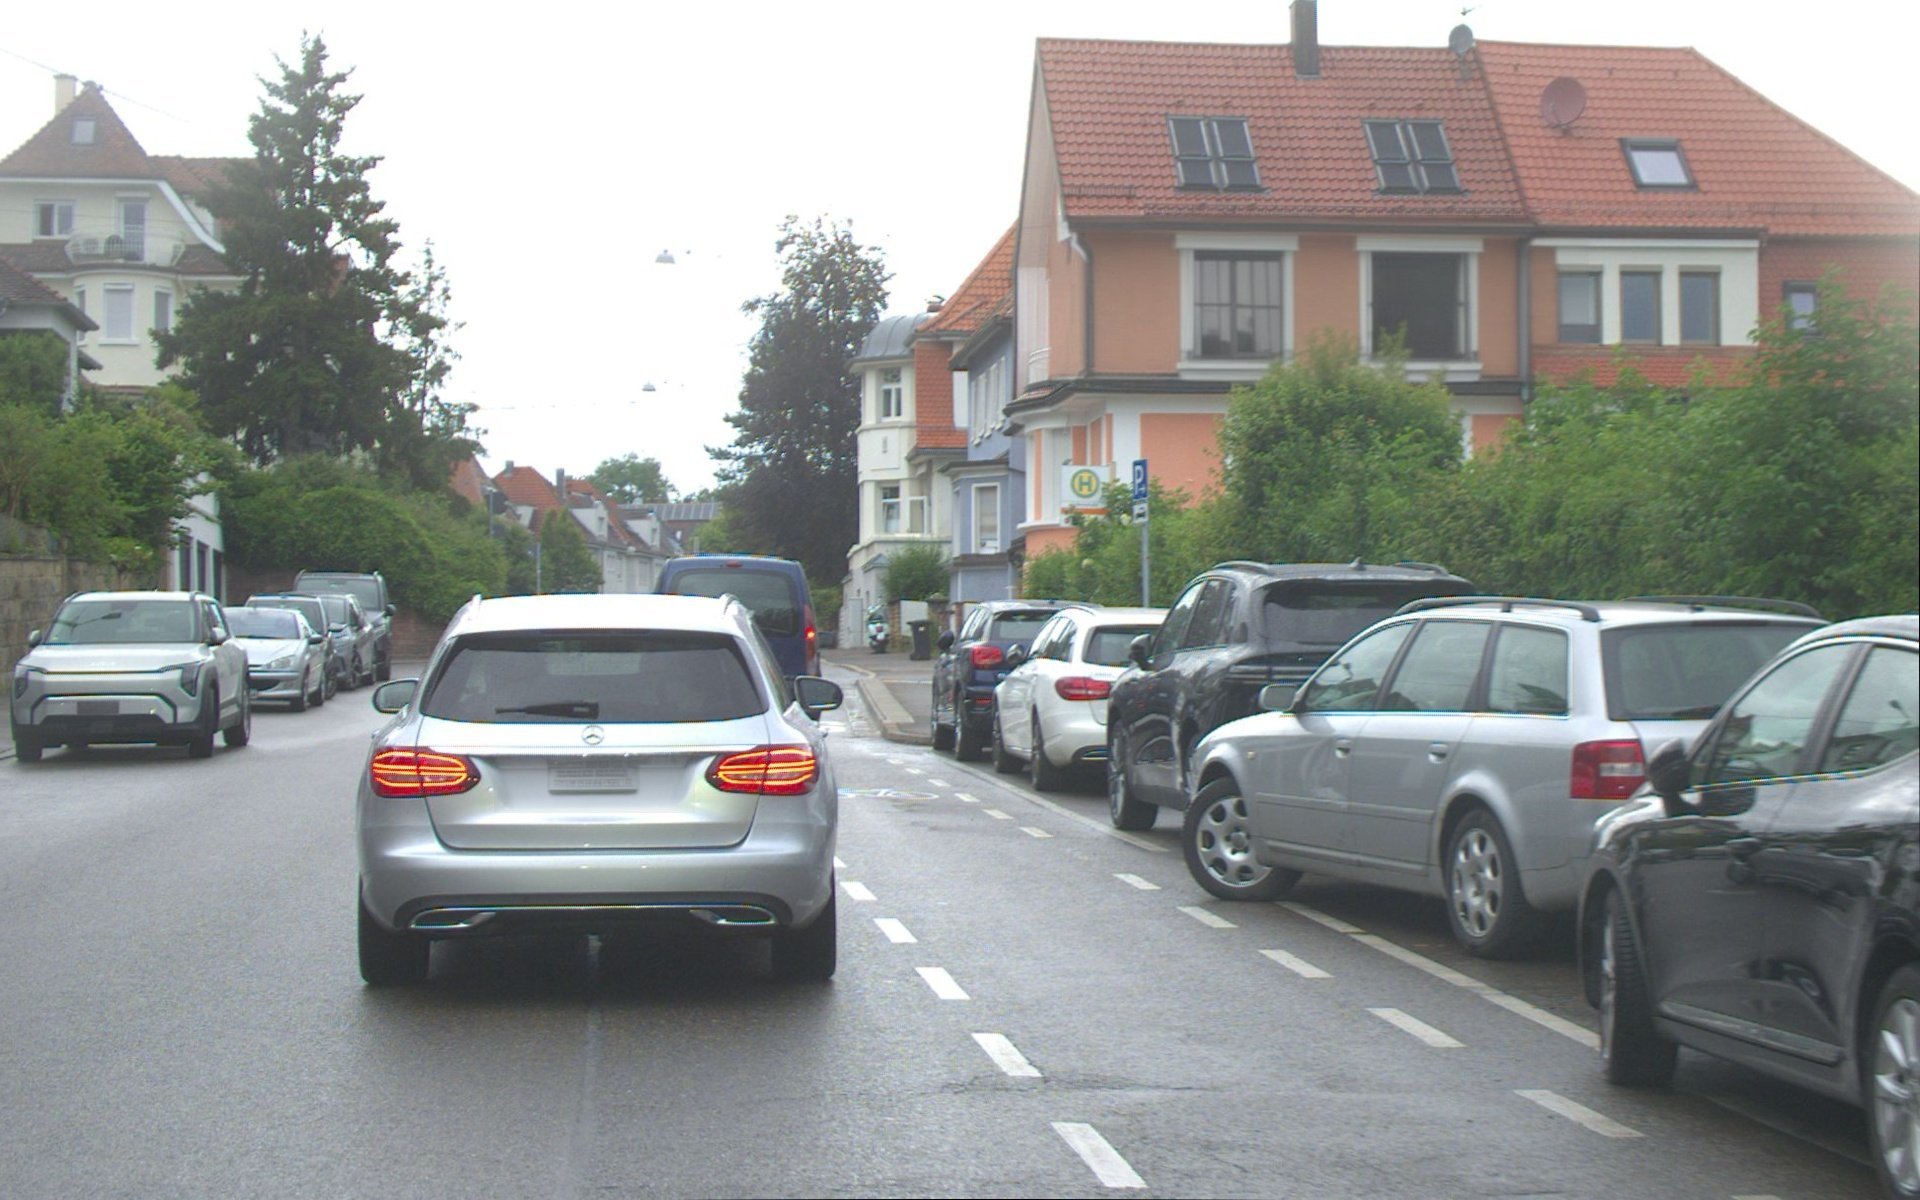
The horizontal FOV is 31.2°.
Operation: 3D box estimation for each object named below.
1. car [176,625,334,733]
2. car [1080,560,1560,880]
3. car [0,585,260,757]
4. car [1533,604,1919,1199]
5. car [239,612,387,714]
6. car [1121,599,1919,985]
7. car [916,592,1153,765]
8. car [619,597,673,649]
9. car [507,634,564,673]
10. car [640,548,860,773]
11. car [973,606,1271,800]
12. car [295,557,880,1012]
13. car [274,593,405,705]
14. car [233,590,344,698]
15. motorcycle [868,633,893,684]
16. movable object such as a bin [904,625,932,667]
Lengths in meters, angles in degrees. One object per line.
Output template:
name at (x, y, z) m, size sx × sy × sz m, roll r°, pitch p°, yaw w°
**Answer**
car at (-9.446, 1.035, 46.296) m, size 1.609 × 1.333 × 3.841 m, roll 2°, pitch 0°, yaw -5°
car at (2.031, 0.666, 20.827) m, size 1.886 × 1.657 × 4.549 m, roll 2°, pitch -1°, yaw -7°
car at (-8.075, 0.670, 33.753) m, size 1.898 × 1.562 × 4.238 m, roll 1°, pitch 0°, yaw -5°
car at (2.855, 0.756, 9.227) m, size 1.688 × 1.417 × 3.983 m, roll 1°, pitch -1°, yaw -4°
car at (-10.447, 0.994, 55.765) m, size 1.898 × 1.510 × 4.343 m, roll 3°, pitch -1°, yaw -5°
car at (2.435, 0.745, 15.396) m, size 1.798 × 1.435 × 4.643 m, roll 2°, pitch 0°, yaw -19°
car at (0.657, 0.745, 33.468) m, size 1.753 × 1.525 × 4.206 m, roll 2°, pitch -1°, yaw -6°
car at (-14.996, 1.095, 164.009) m, size 2.466 × 2.392 × 4.000 m, roll -2°, pitch -1°, yaw -5°
car at (-16.678, 2.099, 135.276) m, size 2.116 × 1.466 × 4.017 m, roll 2°, pitch -1°, yaw -6°
car at (-1.917, 0.509, 31.798) m, size 1.824 × 1.876 × 4.095 m, roll -2°, pitch 0°, yaw -3°
car at (1.224, 0.784, 27.992) m, size 1.713 × 1.400 × 4.608 m, roll 2°, pitch 0°, yaw -6°
car at (-1.458, 0.655, 13.973) m, size 1.982 × 1.548 × 4.298 m, roll 1°, pitch -1°, yaw -5°
car at (-11.090, 0.862, 61.748) m, size 2.128 × 1.854 × 5.595 m, roll 2°, pitch -1°, yaw -9°
car at (-9.957, 0.634, 51.120) m, size 1.496 × 1.519 × 3.160 m, roll 2°, pitch 0°, yaw -9°
motorcycle at (-2.023, 1.468, 87.090) m, size 0.582 × 1.257 × 2.331 m, roll -1°, pitch -1°, yaw -2°
movable object such as a bin at (-0.950, 1.040, 77.431) m, size 0.548 × 0.933 × 0.634 m, roll -2°, pitch 0°, yaw -5°
